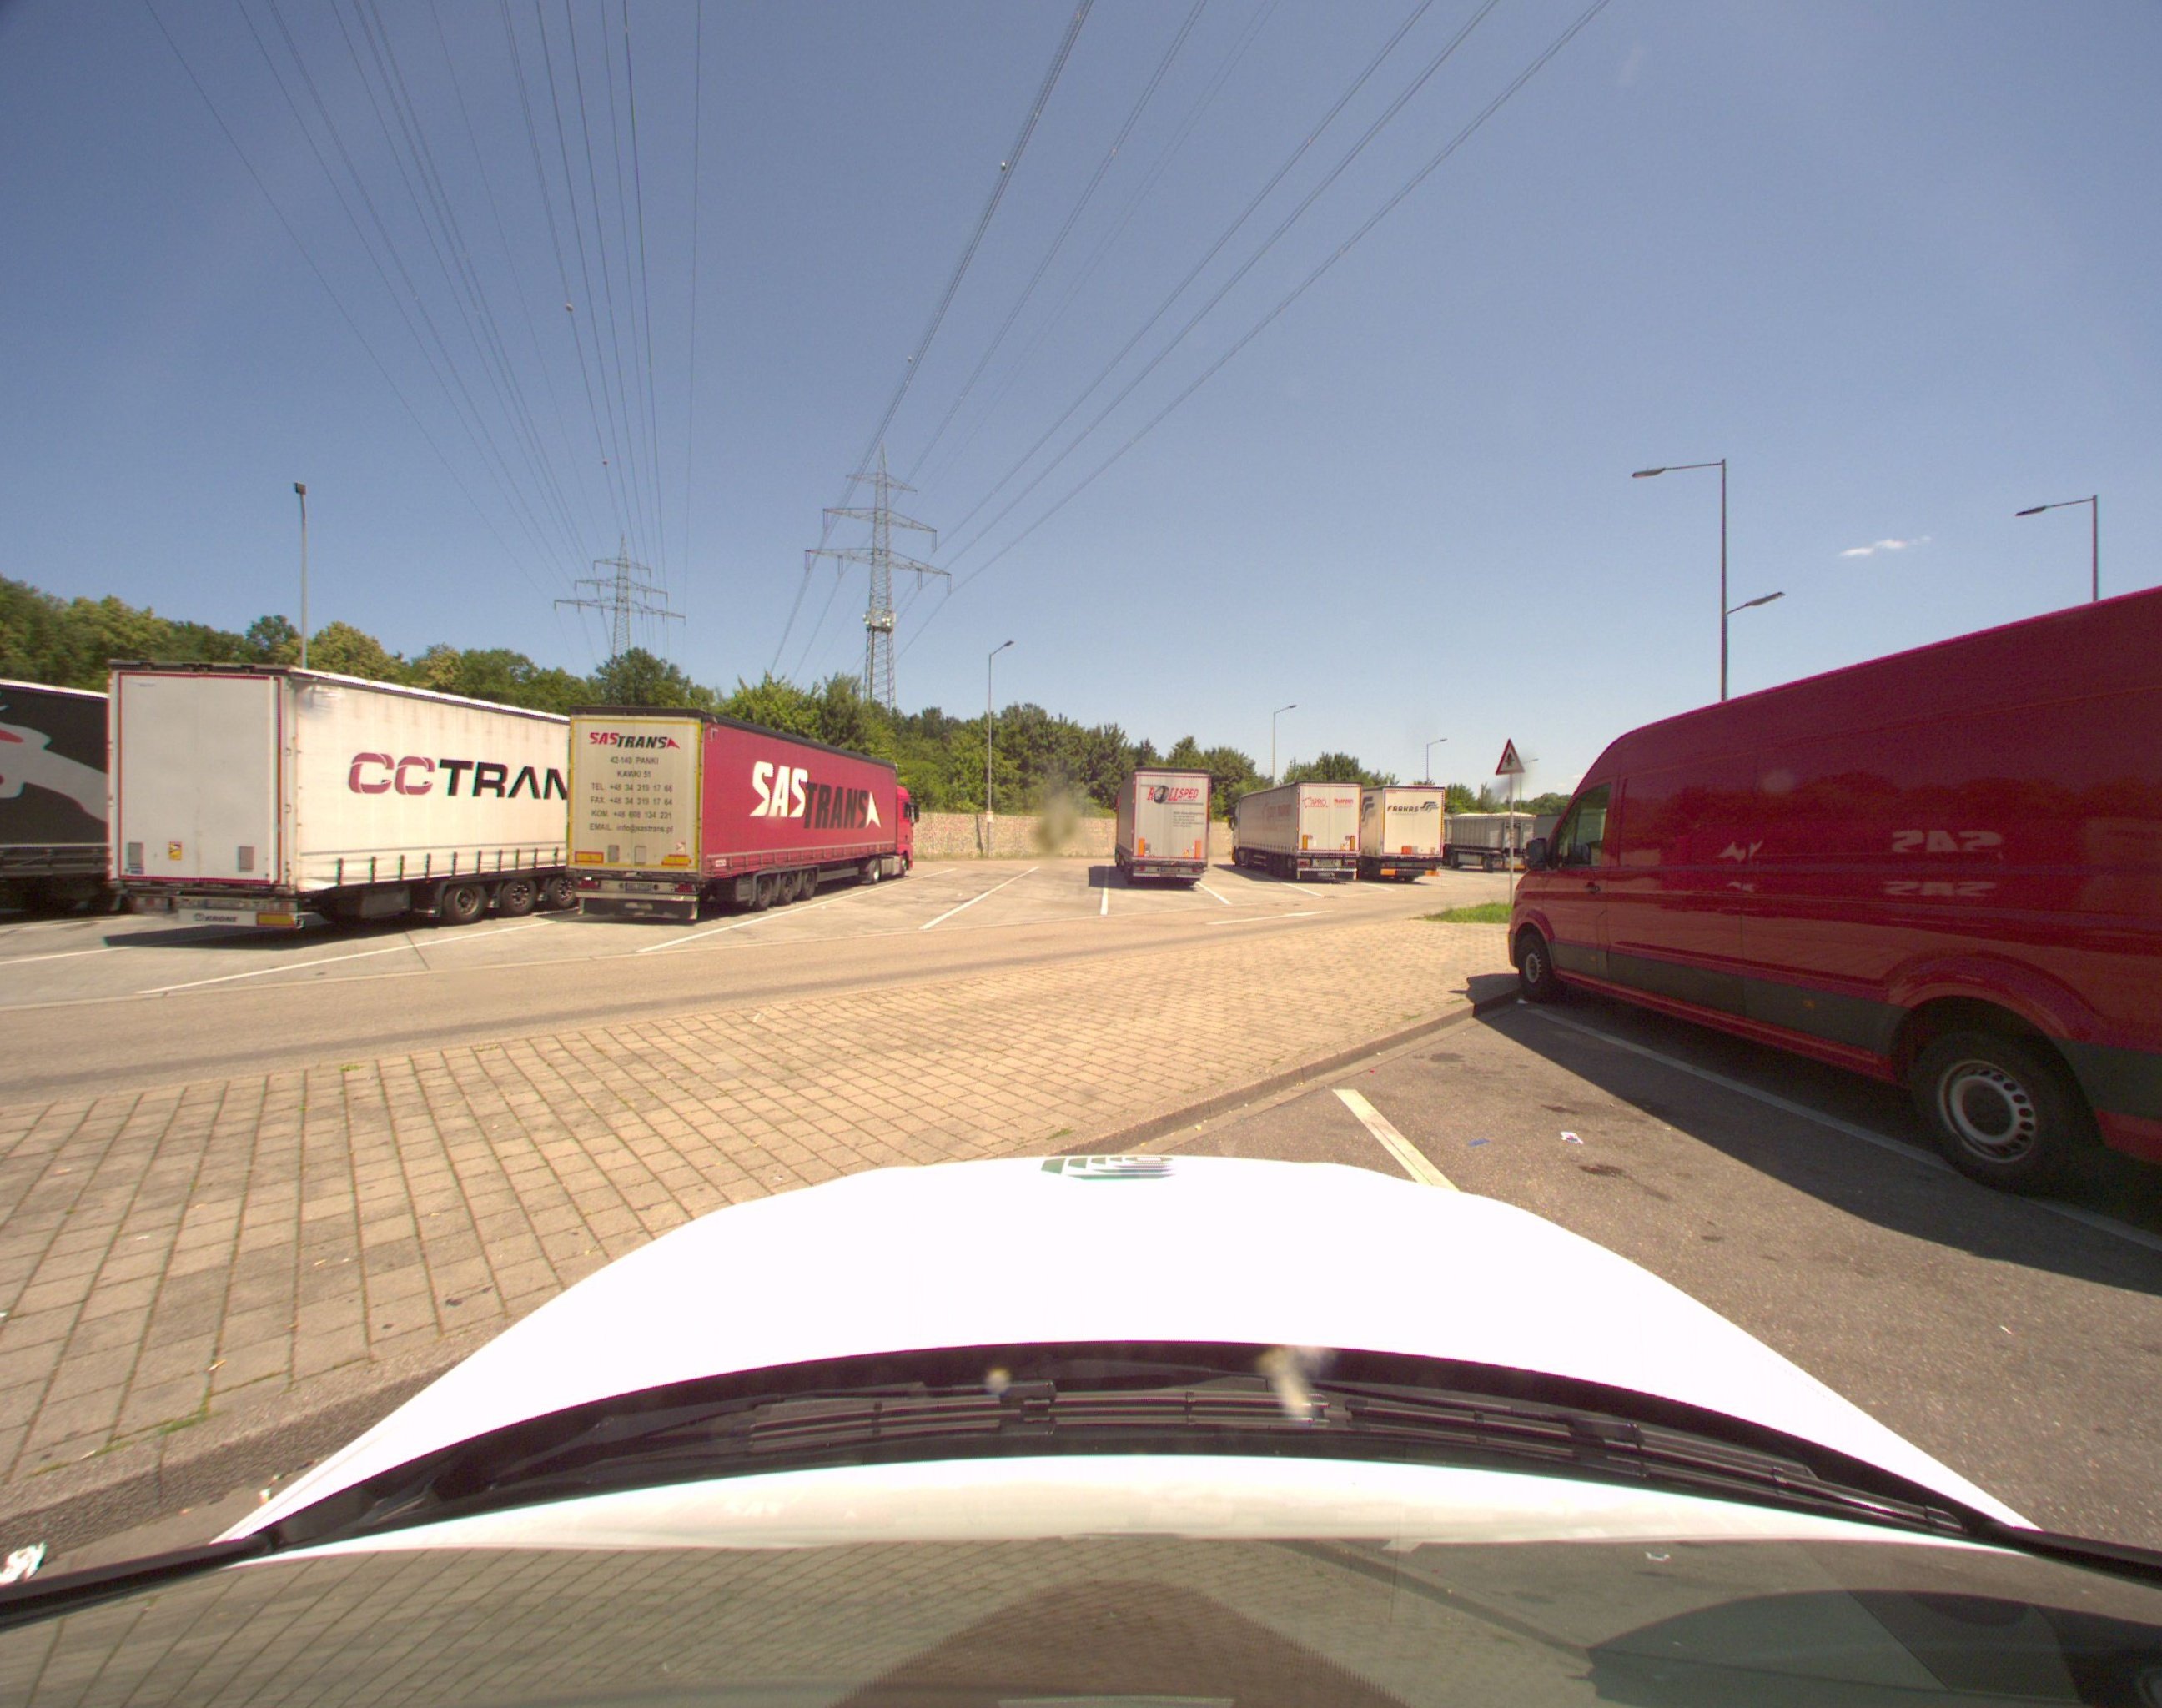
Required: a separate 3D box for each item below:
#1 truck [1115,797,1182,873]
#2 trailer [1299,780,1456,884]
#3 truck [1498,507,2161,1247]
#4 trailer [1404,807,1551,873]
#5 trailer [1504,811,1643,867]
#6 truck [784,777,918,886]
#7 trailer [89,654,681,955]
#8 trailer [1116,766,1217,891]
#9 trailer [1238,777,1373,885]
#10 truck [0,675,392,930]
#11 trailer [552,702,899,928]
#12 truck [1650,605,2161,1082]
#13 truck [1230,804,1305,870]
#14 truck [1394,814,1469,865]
[{"bbox_3d":[3.148,-0.935,39.412,2.855,3.362,5.977,1,2,2],"label":"truck"},{"bbox_3d":[13.617,-1.092,39.225,2.847,4.109,13.770,1,2,2],"label":"trailer"},{"bbox_3d":[5.151,0.079,5.453,2.001,2.651,6.466,-1,0,6],"label":"truck"},{"bbox_3d":[24.450,-0.991,51.500,2.847,3.599,13.770,1,2,2],"label":"trailer"},{"bbox_3d":[38.230,-1.293,64.181,2.847,3.904,13.770,1,2,2],"label":"trailer"},{"bbox_3d":[-7.823,-0.790,28.545,2.801,3.362,5.977,1,2,2],"label":"truck"},{"bbox_3d":[-12.152,-0.839,16.424,2.696,4.101,10.395,1,2,2],"label":"trailer"},{"bbox_3d":[3.057,-1.045,33.210,2.848,3.971,13.767,1,2,1],"label":"trailer"},{"bbox_3d":[9.989,-1.117,38.301,2.847,4.109,13.770,1,2,2],"label":"trailer"},{"bbox_3d":[-18.541,-0.935,15.831,2.696,4.070,8.694,1,2,2],"label":"truck"},{"bbox_3d":[-8.038,-0.924,21.728,2.811,4.070,13.770,1,2,2],"label":"trailer"},{"bbox_3d":[8.010,-0.072,6.886,2.406,2.906,6.466,-1,0,6],"label":"truck"},{"bbox_3d":[10.188,-0.974,45.065,2.855,3.362,5.977,1,2,2],"label":"truck"},{"bbox_3d":[24.636,-1.078,57.597,2.855,3.362,5.977,1,2,2],"label":"truck"}]
